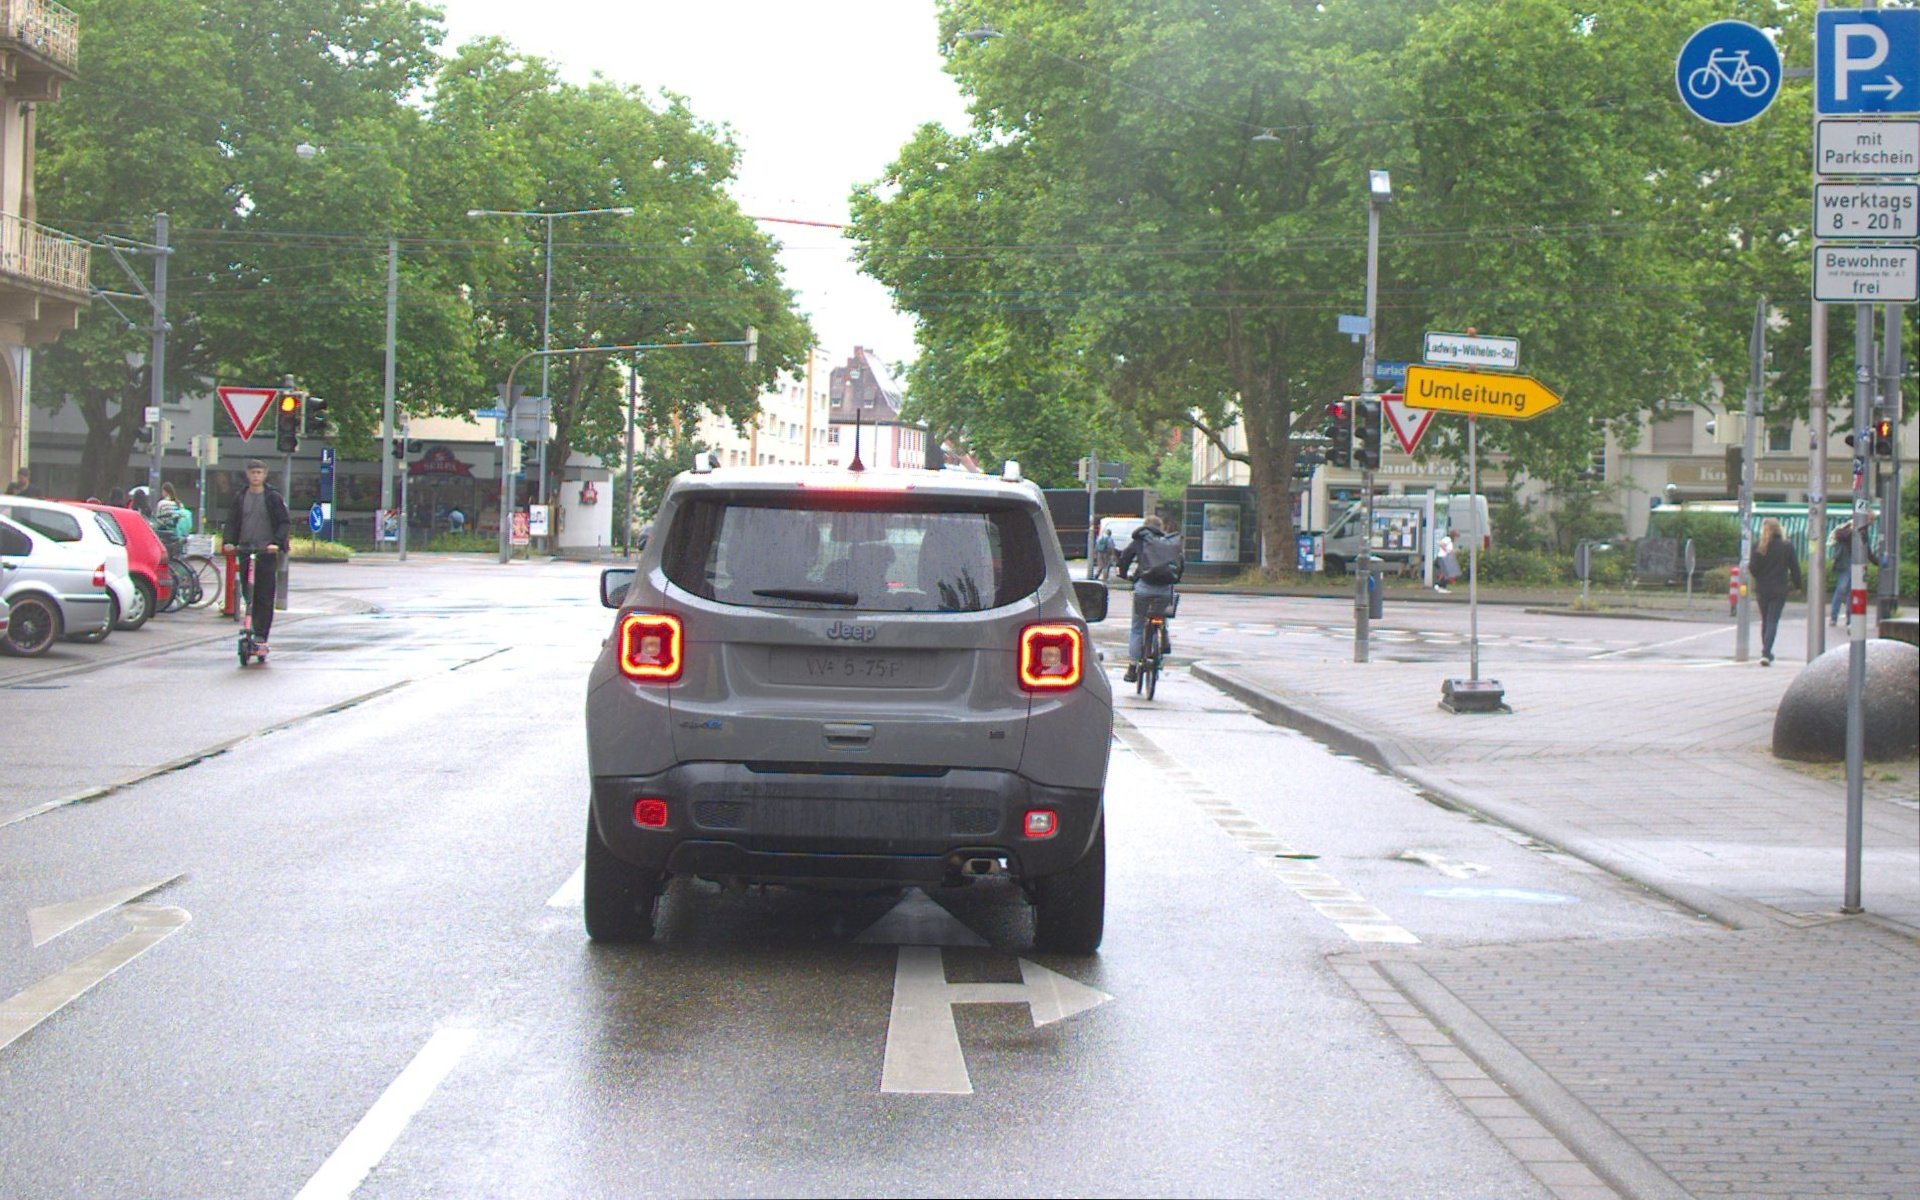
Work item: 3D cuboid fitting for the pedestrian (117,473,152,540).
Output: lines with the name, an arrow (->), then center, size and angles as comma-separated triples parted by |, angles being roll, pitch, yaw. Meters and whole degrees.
pedestrian -> -22.770, -2.582, 94.843 | 0.692, 1.820, 0.620 | 1, 1, 16

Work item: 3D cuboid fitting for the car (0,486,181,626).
car -> -10.778, -0.514, 38.936 | 3.393, 1.552, 1.705 | 0, 2, -39

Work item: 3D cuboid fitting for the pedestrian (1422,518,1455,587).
pedestrian -> 11.092, -1.107, 79.754 | 0.613, 1.598, 0.493 | 2, 1, 25

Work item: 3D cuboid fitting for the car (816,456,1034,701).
car -> -0.297, -0.234, 30.669 | 1.770, 2.006, 4.000 | 1, 2, 0

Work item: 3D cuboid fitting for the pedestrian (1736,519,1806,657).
pedestrian -> 9.785, -0.154, 41.490 | 0.783, 1.640, 0.654 | 1, 1, 13

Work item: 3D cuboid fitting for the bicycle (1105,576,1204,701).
bicycle -> 1.737, 0.327, 31.054 | 0.691, 1.018, 2.658 | 0, 2, -1

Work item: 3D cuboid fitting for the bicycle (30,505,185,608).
bicycle -> -10.723, -0.552, 43.262 | 1.810, 1.262, 0.498 | 1, 1, -1

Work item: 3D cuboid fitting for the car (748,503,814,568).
car -> -4.985, -1.802, 95.391 | 1.721, 1.733, 3.730 | 1, 2, -4

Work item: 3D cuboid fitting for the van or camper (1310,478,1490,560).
van or camper -> 13.417, -2.490, 105.156 | 5.260, 2.307, 2.090 | 2, 2, 4

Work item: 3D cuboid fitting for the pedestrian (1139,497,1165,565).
pedestrian -> 5.767, -2.077, 103.164 | 0.651, 2.007, 0.482 | 2, 1, 13

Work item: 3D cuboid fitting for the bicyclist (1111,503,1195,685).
bicyclist -> 1.740, -0.065, 31.079 | 0.687, 1.612, 0.884 | 0, 1, -1

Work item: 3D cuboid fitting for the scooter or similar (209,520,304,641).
scooter or similar -> -6.959, -0.202, 34.060 | 0.700, 1.161, 1.385 | 1, 2, -2

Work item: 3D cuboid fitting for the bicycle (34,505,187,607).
bicycle -> -10.853, -0.565, 43.947 | 1.810, 1.262, 0.498 | 1, 1, -1

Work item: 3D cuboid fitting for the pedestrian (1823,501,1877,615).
pedestrian -> 13.909, -0.661, 53.724 | 0.786, 1.753, 0.945 | 1, 1, 15

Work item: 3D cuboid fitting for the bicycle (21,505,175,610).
bicycle -> -10.706, -0.529, 42.715 | 1.763, 1.262, 0.522 | 1, 1, -1

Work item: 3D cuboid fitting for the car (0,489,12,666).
car -> -10.224, -0.232, 29.910 | 3.393, 1.552, 1.705 | 0, 2, -39

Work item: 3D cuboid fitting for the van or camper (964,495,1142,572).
van or camper -> 3.668, -2.635, 136.026 | 6.536, 2.902, 2.491 | 2, 2, 27

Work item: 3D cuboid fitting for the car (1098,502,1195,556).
car -> 7.065, -2.698, 130.012 | 3.438, 2.007, 1.547 | 1, 1, 14

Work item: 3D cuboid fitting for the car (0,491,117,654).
car -> -10.101, -0.294, 33.177 | 3.393, 1.552, 1.705 | 0, 2, -39

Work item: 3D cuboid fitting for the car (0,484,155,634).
car -> -10.408, -0.451, 36.071 | 3.393, 1.552, 1.705 | 0, 2, -39

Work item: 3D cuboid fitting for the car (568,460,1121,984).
car -> -0.399, 0.340, 13.019 | 1.775, 1.681, 3.848 | 0, 2, -1

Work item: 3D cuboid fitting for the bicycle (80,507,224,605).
bicycle -> -10.766, -0.587, 45.853 | 1.763, 1.262, 0.608 | 1, 1, -1

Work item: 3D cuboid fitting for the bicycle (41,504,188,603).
bicycle -> -11.052, -0.613, 44.979 | 1.763, 1.262, 0.608 | 1, 1, -1

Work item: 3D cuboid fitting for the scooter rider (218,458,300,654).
scooter rider -> -6.962, -0.443, 34.168 | 0.710, 1.928, 0.504 | 1, 1, -2

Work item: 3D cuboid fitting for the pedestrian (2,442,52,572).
pedestrian -> -14.563, -1.445, 53.668 | 0.567, 2.007, 0.655 | 1, 1, 0
